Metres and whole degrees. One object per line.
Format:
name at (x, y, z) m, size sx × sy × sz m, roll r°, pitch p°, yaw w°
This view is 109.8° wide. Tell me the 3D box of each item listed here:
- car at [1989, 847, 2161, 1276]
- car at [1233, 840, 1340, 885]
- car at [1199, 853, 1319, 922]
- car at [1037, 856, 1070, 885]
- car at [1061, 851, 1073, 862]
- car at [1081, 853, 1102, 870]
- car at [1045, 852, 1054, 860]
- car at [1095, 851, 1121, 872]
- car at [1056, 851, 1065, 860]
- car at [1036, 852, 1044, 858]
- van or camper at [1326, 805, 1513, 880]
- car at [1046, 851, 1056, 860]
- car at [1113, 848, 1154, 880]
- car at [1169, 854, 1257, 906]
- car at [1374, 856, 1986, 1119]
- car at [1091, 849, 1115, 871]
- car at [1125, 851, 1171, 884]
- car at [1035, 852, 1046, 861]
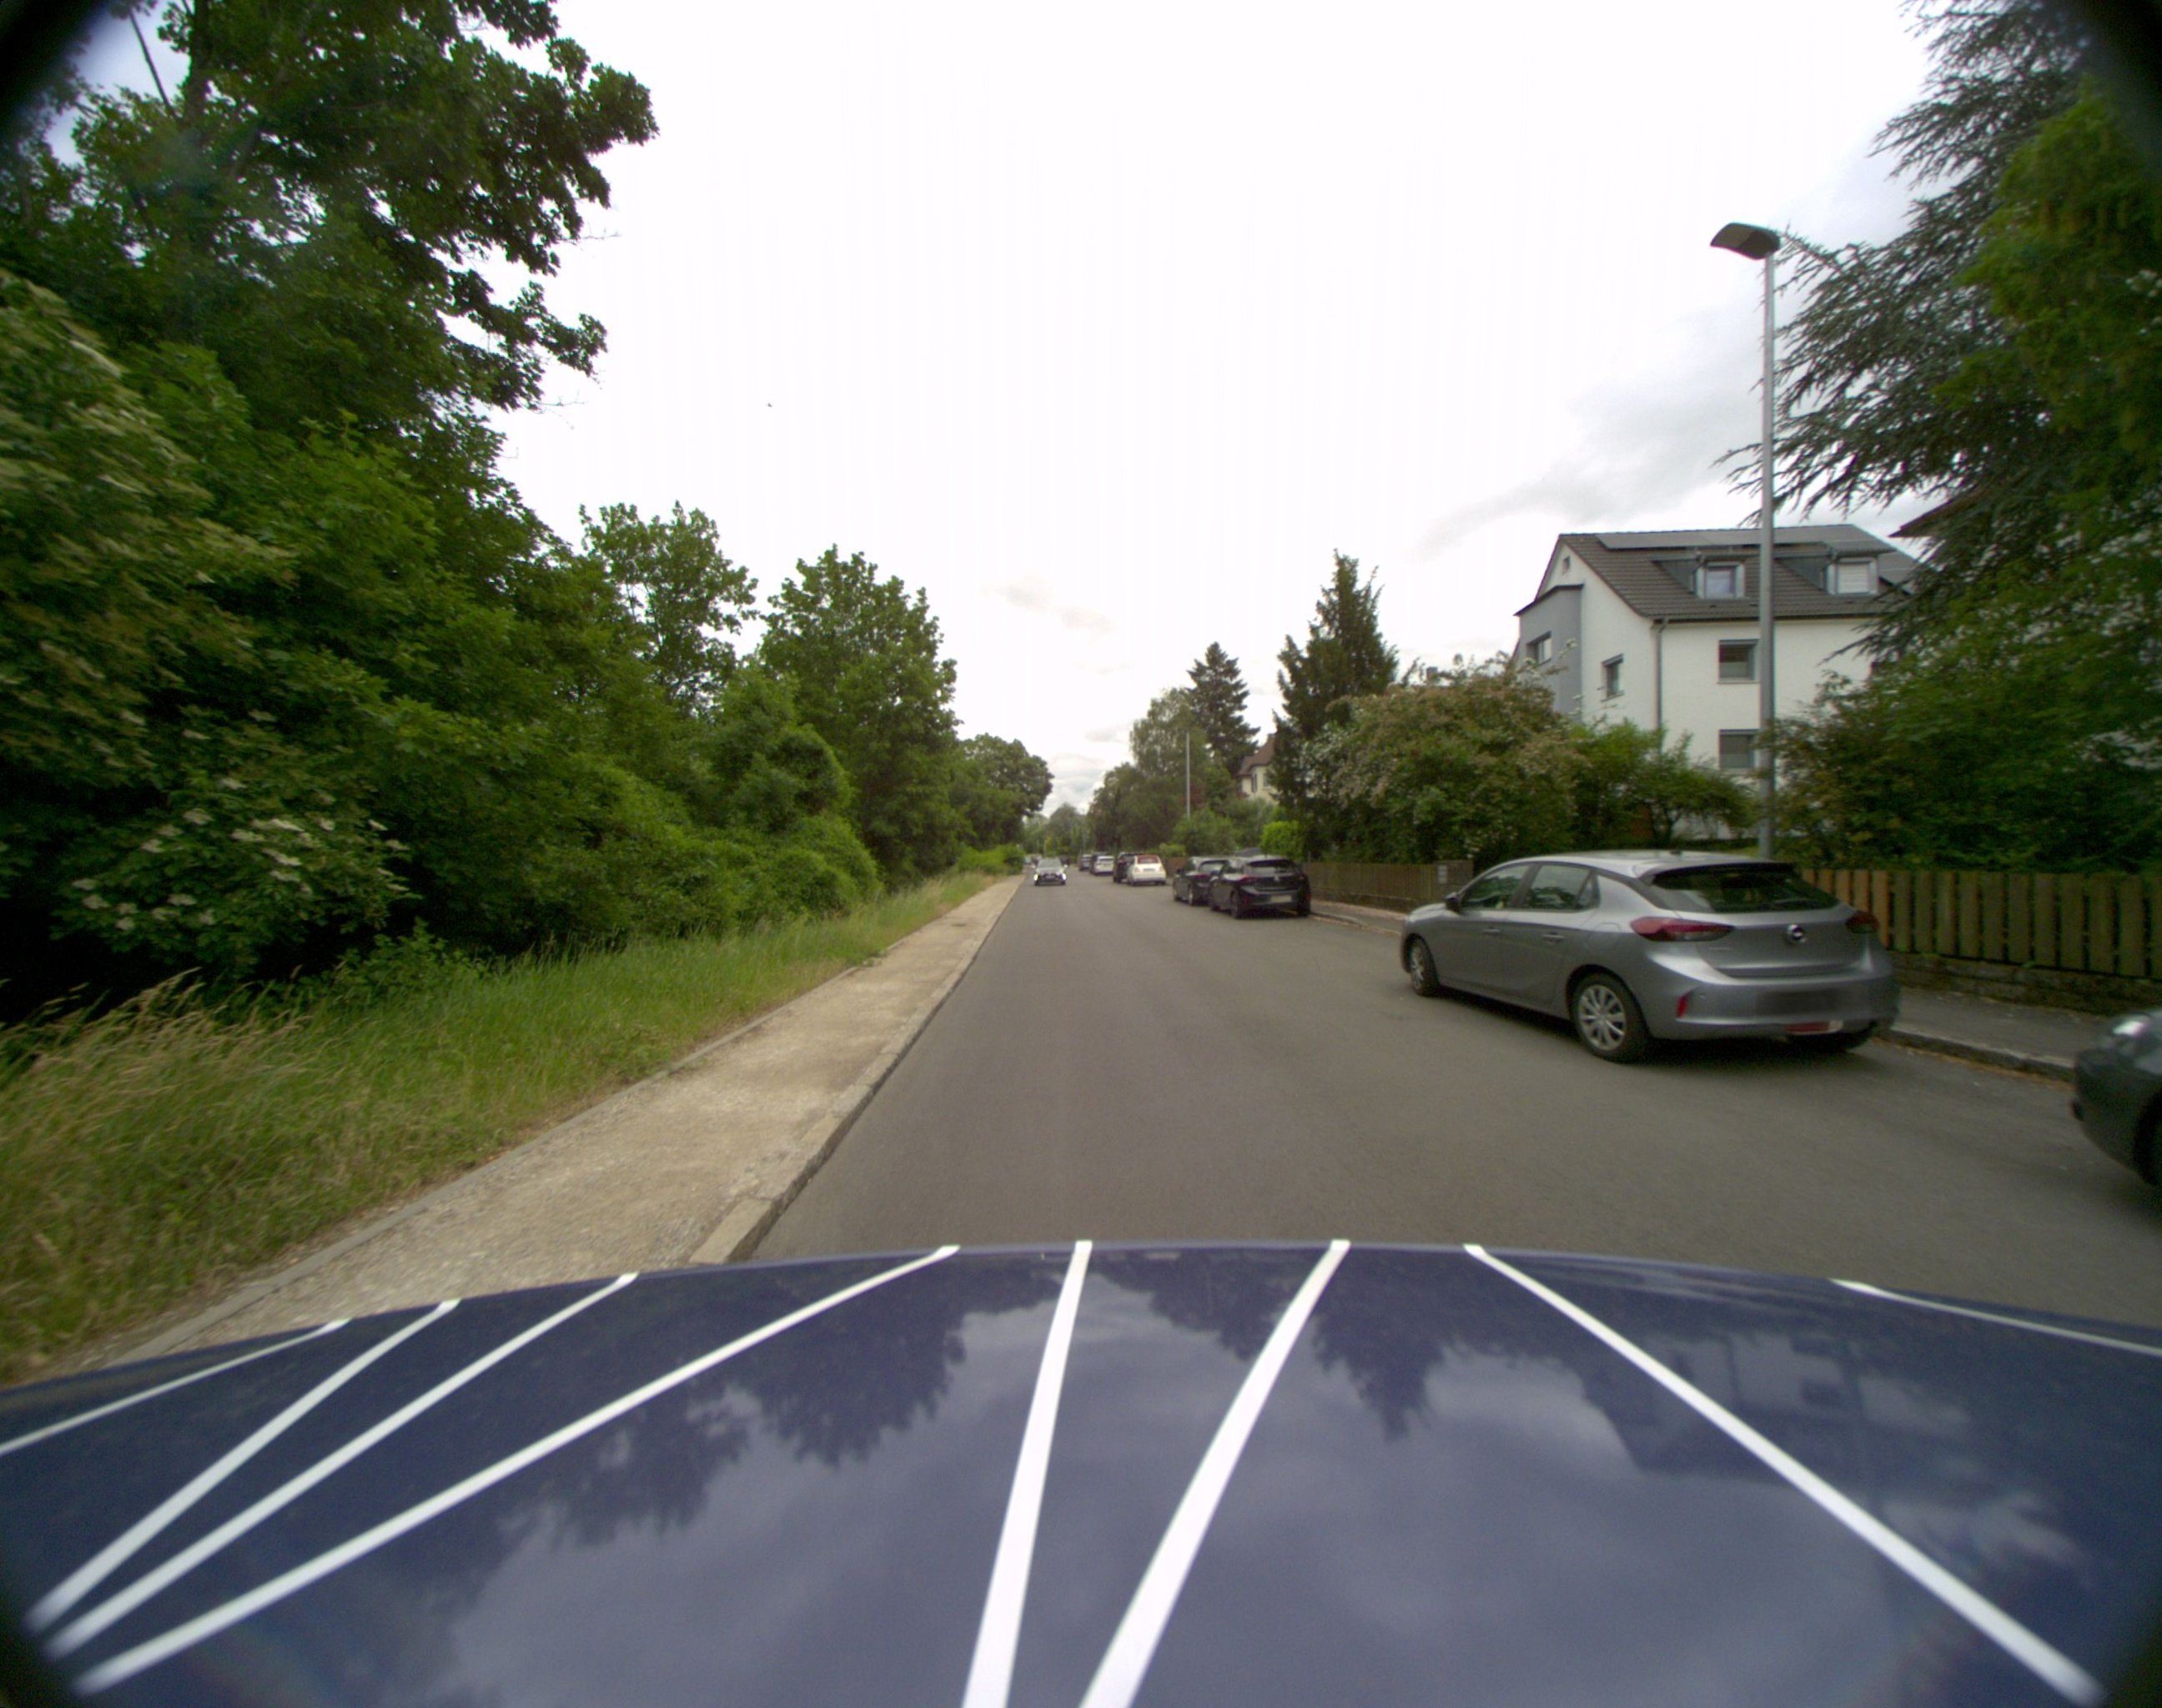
car at (4.683, 0.728, 0.947) m, size 1.711 × 1.505 × 4.495 m, roll -2°, pitch 0°, yaw 0°
car at (8.161, 0.336, 30.528) m, size 3.994 × 1.538 × 1.843 m, roll -3°, pitch 0°, yaw 11°
car at (4.167, 0.719, 18.442) m, size 1.711 × 1.408 × 4.131 m, roll -2°, pitch 0°, yaw -3°
car at (-1.571, 0.863, 42.683) m, size 1.711 × 1.466 × 4.194 m, roll -2°, pitch 0°, yaw -2°
car at (-2.325, 0.412, 126.485) m, size 1.922 × 1.670 × 4.194 m, roll -2°, pitch 0°, yaw -2°
car at (1.015, 0.694, 76.749) m, size 1.801 × 1.598 × 4.728 m, roll -2°, pitch 0°, yaw -3°
car at (-6.952, 0.376, 167.299) m, size 1.923 × 1.670 × 4.193 m, roll -2°, pitch 0°, yaw -5°
car at (1.997, 0.536, 57.790) m, size 1.711 × 1.502 × 4.553 m, roll -2°, pitch 0°, yaw -1°
car at (-3.853, 0.280, 143.804) m, size 1.711 × 1.466 × 4.194 m, roll -2°, pitch 0°, yaw -2°
car at (-10.825, 0.268, 202.644) m, size 1.923 × 1.670 × 4.193 m, roll -2°, pitch 0°, yaw -5°
van or camper at (14.082, -0.459, 32.029) m, size 6.693 × 2.635 × 2.325 m, roll -3°, pitch 0°, yaw 6°
car at (-6.358, 0.308, 162.439) m, size 1.923 × 1.670 × 4.193 m, roll -2°, pitch 0°, yaw -5°
car at (2.862, 0.515, 42.210) m, size 1.796 × 1.654 × 4.391 m, roll -2°, pitch 0°, yaw -1°
car at (3.924, 0.725, 23.280) m, size 1.711 × 1.408 × 4.148 m, roll -2°, pitch 0°, yaw -3°
car at (4.235, 0.757, 6.402) m, size 1.711 × 1.402 × 4.159 m, roll -2°, pitch 0°, yaw -3°
car at (1.802, 0.502, 64.550) m, size 1.711 × 1.789 × 4.296 m, roll -2°, pitch 0°, yaw -2°
car at (3.283, 0.626, 37.868) m, size 1.711 × 1.502 × 3.944 m, roll -2°, pitch 0°, yaw -3°
car at (-8.149, 0.444, 153.868) m, size 1.923 × 1.670 × 4.192 m, roll -2°, pitch 0°, yaw -7°
